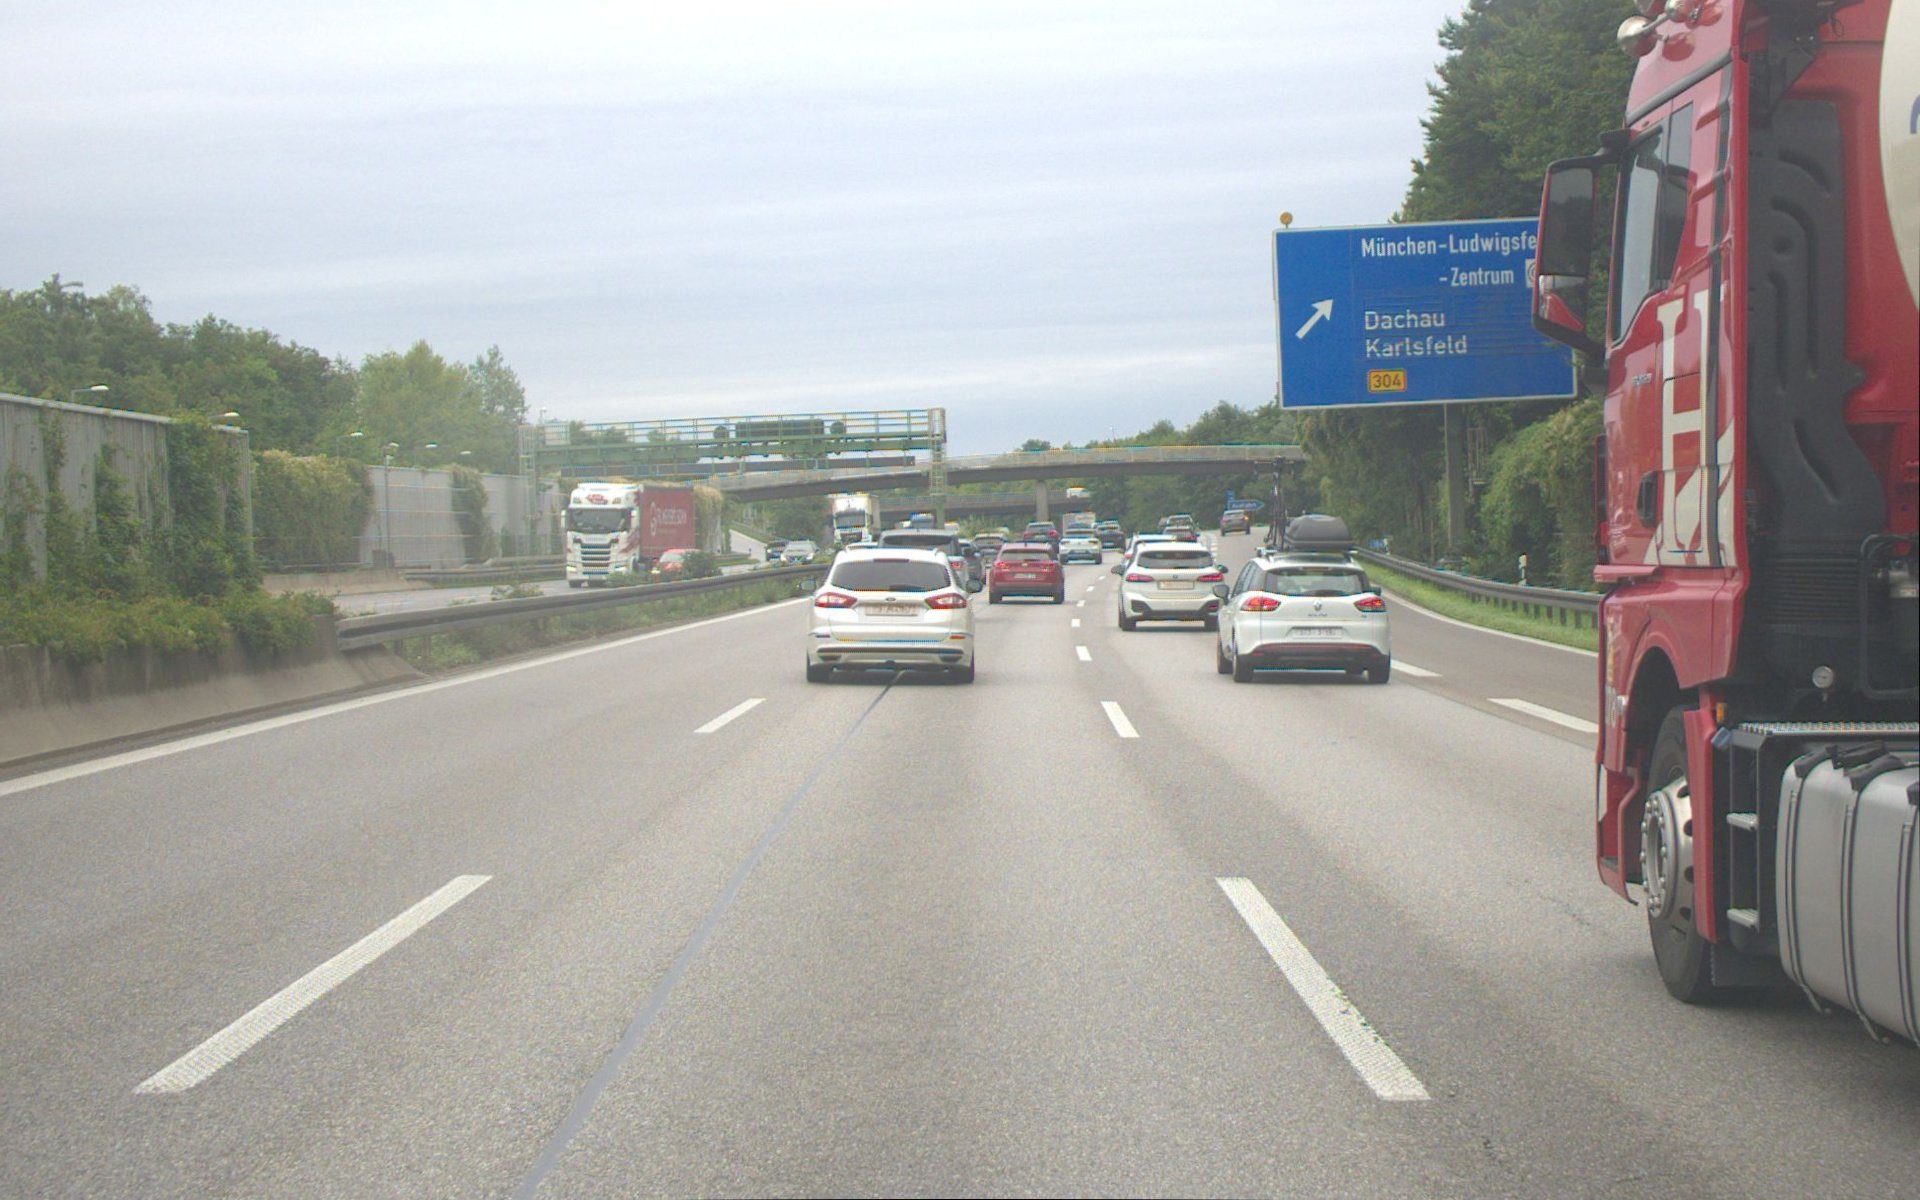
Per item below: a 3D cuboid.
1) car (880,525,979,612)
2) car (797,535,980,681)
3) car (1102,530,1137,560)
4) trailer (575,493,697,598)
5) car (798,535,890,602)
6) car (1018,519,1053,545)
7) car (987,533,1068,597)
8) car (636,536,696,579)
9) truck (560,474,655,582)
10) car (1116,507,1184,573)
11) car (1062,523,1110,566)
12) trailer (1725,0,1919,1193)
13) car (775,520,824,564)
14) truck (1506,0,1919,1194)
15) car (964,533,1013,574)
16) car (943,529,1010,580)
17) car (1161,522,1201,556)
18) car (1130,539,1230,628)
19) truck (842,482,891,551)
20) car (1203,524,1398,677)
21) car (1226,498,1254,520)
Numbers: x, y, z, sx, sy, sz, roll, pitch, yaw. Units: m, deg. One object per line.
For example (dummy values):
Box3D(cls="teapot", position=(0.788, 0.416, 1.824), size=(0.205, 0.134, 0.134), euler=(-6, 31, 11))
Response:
Box3D(cls="car", position=(-0.564, -0.642, 66.641), size=(1.689, 1.501, 3.871), euler=(4, 2, 1))
Box3D(cls="car", position=(-0.741, 0.053, 38.707), size=(1.892, 1.499, 5.030), euler=(1, 1, 0))
Box3D(cls="car", position=(8.493, -2.945, 182.603), size=(1.689, 1.534, 3.871), euler=(0, 1, 5))
Box3D(cls="trailer", position=(-13.316, -2.317, 142.469), size=(2.745, 4.113, 13.687), euler=(0, 1, 4))
Box3D(cls="car", position=(-2.801, -0.744, 84.082), size=(1.720, 1.464, 5.029), euler=(-1, -1, 4))
Box3D(cls="car", position=(4.075, -3.676, 185.440), size=(1.689, 1.417, 3.871), euler=(0, 1, 4))
Box3D(cls="car", position=(1.661, -0.873, 83.861), size=(1.689, 1.501, 3.871), euler=(0, 1, 5))
Box3D(cls="car", position=(-10.852, -1.560, 127.147), size=(1.772, 1.564, 4.717), euler=(0, 0, 1))
Box3D(cls="truck", position=(-13.825, -2.847, 135.243), size=(2.668, 4.113, 5.916), euler=(-1, 1, 4))
Box3D(cls="car", position=(5.333, -1.659, 96.127), size=(1.689, 1.773, 3.870), euler=(-2, 0, 5))
Box3D(cls="car", position=(5.400, -2.358, 147.349), size=(1.790, 1.773, 3.871), euler=(-1, 1, 5))
Box3D(cls="trailer", position=(3.617, -0.500, 3.251), size=(2.668, 3.925, 13.131), euler=(0, 1, -1))
Box3D(cls="car", position=(-7.630, -2.777, 163.359), size=(1.993, 1.732, 4.001), euler=(2, 5, 2))
Box3D(cls="truck", position=(3.565, -0.594, 10.526), size=(2.695, 3.899, 6.556), euler=(0, 1, 0))
Box3D(cls="car", position=(1.190, -1.928, 143.122), size=(1.689, 1.634, 3.871), euler=(-1, 1, 5))
Box3D(cls="car", position=(0.534, -1.412, 106.327), size=(1.689, 1.501, 3.871), euler=(-1, 1, 6))
Box3D(cls="car", position=(10.046, -2.775, 155.971), size=(1.689, 1.534, 3.871), euler=(0, 1, 5))
Box3D(cls="car", position=(3.911, -0.298, 60.603), size=(1.689, 1.501, 3.871), euler=(0, 0, 5))
Box3D(cls="truck", position=(-6.160, -5.541, 228.087), size=(2.649, 4.458, 5.282), euler=(-1, 1, 4))
Box3D(cls="car", position=(3.844, -0.020, 39.538), size=(1.816, 1.620, 5.030), euler=(-1, 1, 1))
Box3D(cls="car", position=(17.958, -5.839, 220.334), size=(1.689, 1.417, 3.871), euler=(0, 1, 4))
